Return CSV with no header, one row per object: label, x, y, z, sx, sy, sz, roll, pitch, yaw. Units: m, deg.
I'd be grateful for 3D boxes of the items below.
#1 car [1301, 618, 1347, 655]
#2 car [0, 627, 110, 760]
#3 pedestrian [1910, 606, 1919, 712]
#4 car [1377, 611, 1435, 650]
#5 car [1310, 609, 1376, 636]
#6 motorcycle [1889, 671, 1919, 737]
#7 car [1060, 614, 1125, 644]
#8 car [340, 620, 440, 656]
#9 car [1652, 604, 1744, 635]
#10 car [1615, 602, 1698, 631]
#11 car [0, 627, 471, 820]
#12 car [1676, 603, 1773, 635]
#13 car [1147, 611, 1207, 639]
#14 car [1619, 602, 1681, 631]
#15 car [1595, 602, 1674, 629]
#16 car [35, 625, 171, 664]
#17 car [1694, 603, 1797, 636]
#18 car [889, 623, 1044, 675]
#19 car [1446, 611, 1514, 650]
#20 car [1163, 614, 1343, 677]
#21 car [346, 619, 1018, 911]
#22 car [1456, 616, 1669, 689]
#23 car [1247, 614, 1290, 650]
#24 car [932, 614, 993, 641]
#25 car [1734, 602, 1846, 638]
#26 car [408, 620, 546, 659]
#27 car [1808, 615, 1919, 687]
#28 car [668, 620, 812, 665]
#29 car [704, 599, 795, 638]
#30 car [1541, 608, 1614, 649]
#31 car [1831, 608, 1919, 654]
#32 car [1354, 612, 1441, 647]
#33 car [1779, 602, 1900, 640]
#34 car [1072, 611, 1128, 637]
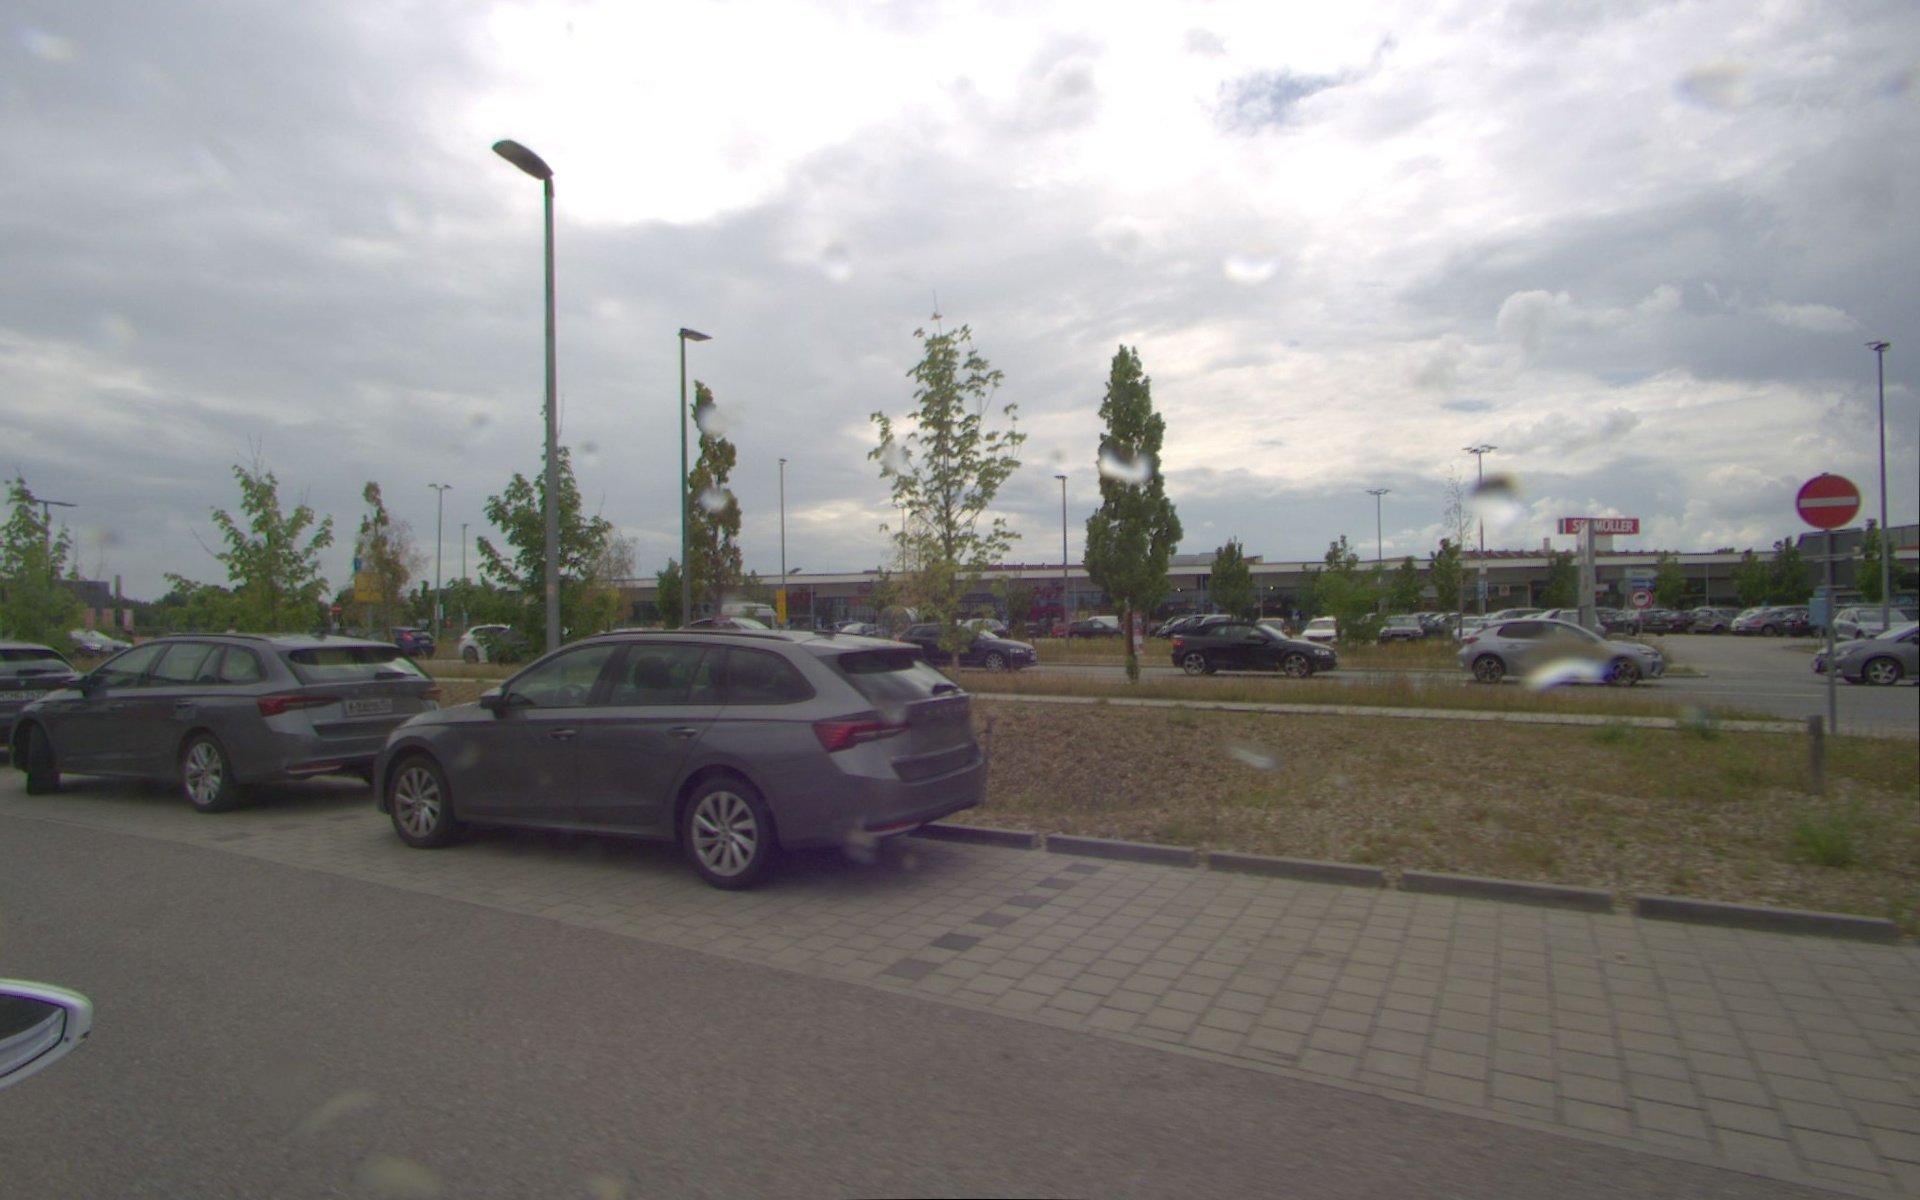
car,16.770,1.663,46.068,1.833,1.521,4.062,-1,0,22
car,-12.492,1.074,12.123,4.039,1.488,1.753,-1,-2,23
pedestrian,12.018,0.721,11.910,0.793,1.298,0.896,1,-1,26
car,19.773,1.321,44.532,1.964,1.560,4.047,-1,0,18
car,27.503,1.584,72.060,4.107,1.862,1.998,-1,1,11
motorcycle,12.026,1.270,11.924,0.803,0.783,2.022,0,-3,24
car,8.734,1.883,65.786,4.107,1.862,1.998,-1,1,11
car,-25.012,1.668,43.984,3.851,1.479,1.657,-1,1,19
car,45.502,1.186,61.826,4.107,1.862,1.998,-1,1,11
car,46.380,1.075,66.772,4.107,1.862,1.998,-1,1,11
car,-6.934,1.010,9.436,4.401,1.488,1.753,-1,-2,23
car,45.196,1.113,59.298,4.107,1.862,1.998,-1,1,11
car,15.350,1.773,71.080,4.107,1.862,1.998,-1,1,11
car,39.651,0.951,57.641,1.965,1.560,4.150,-1,0,21
car,46.894,1.063,69.711,4.107,1.862,1.998,-1,1,11
car,-33.125,1.701,38.734,4.474,1.413,1.767,-1,-1,15
car,44.609,1.099,56.965,4.107,1.862,1.998,-1,1,11
car,0.193,1.375,28.936,4.148,1.413,1.764,-1,-1,23
car,22.438,1.281,43.340,1.964,1.560,4.047,-1,0,18
car,7.537,1.132,25.763,4.216,1.518,1.850,-1,-1,26
car,-1.966,0.899,6.877,4.404,1.488,1.752,-1,-2,26
car,13.319,1.118,22.406,3.938,1.479,1.822,-1,0,28
car,14.717,1.505,47.674,1.874,1.560,4.047,-1,0,18
car,0.198,2.001,72.707,4.108,1.862,1.998,-1,1,12
car,44.029,1.046,53.212,4.107,1.862,1.998,-1,1,11
car,-18.203,1.470,37.797,4.471,1.413,1.768,0,-1,9
car,21.637,1.130,21.942,4.381,1.510,1.613,1,-1,29
car,-7.310,1.377,33.203,4.481,1.413,1.764,-1,-1,23
car,-12.499,1.046,59.819,2.303,2.150,5.574,-1,0,27
car,25.599,1.168,41.622,1.741,1.560,3.756,-1,0,18
car,34.040,1.102,36.804,1.741,1.560,4.044,-1,0,21
car,24.426,1.654,55.998,4.107,1.862,1.998,-1,1,11
car,44.278,1.046,50.492,4.107,1.862,1.998,-1,1,11
car,10.724,1.833,76.804,4.108,1.862,1.998,-1,1,12
